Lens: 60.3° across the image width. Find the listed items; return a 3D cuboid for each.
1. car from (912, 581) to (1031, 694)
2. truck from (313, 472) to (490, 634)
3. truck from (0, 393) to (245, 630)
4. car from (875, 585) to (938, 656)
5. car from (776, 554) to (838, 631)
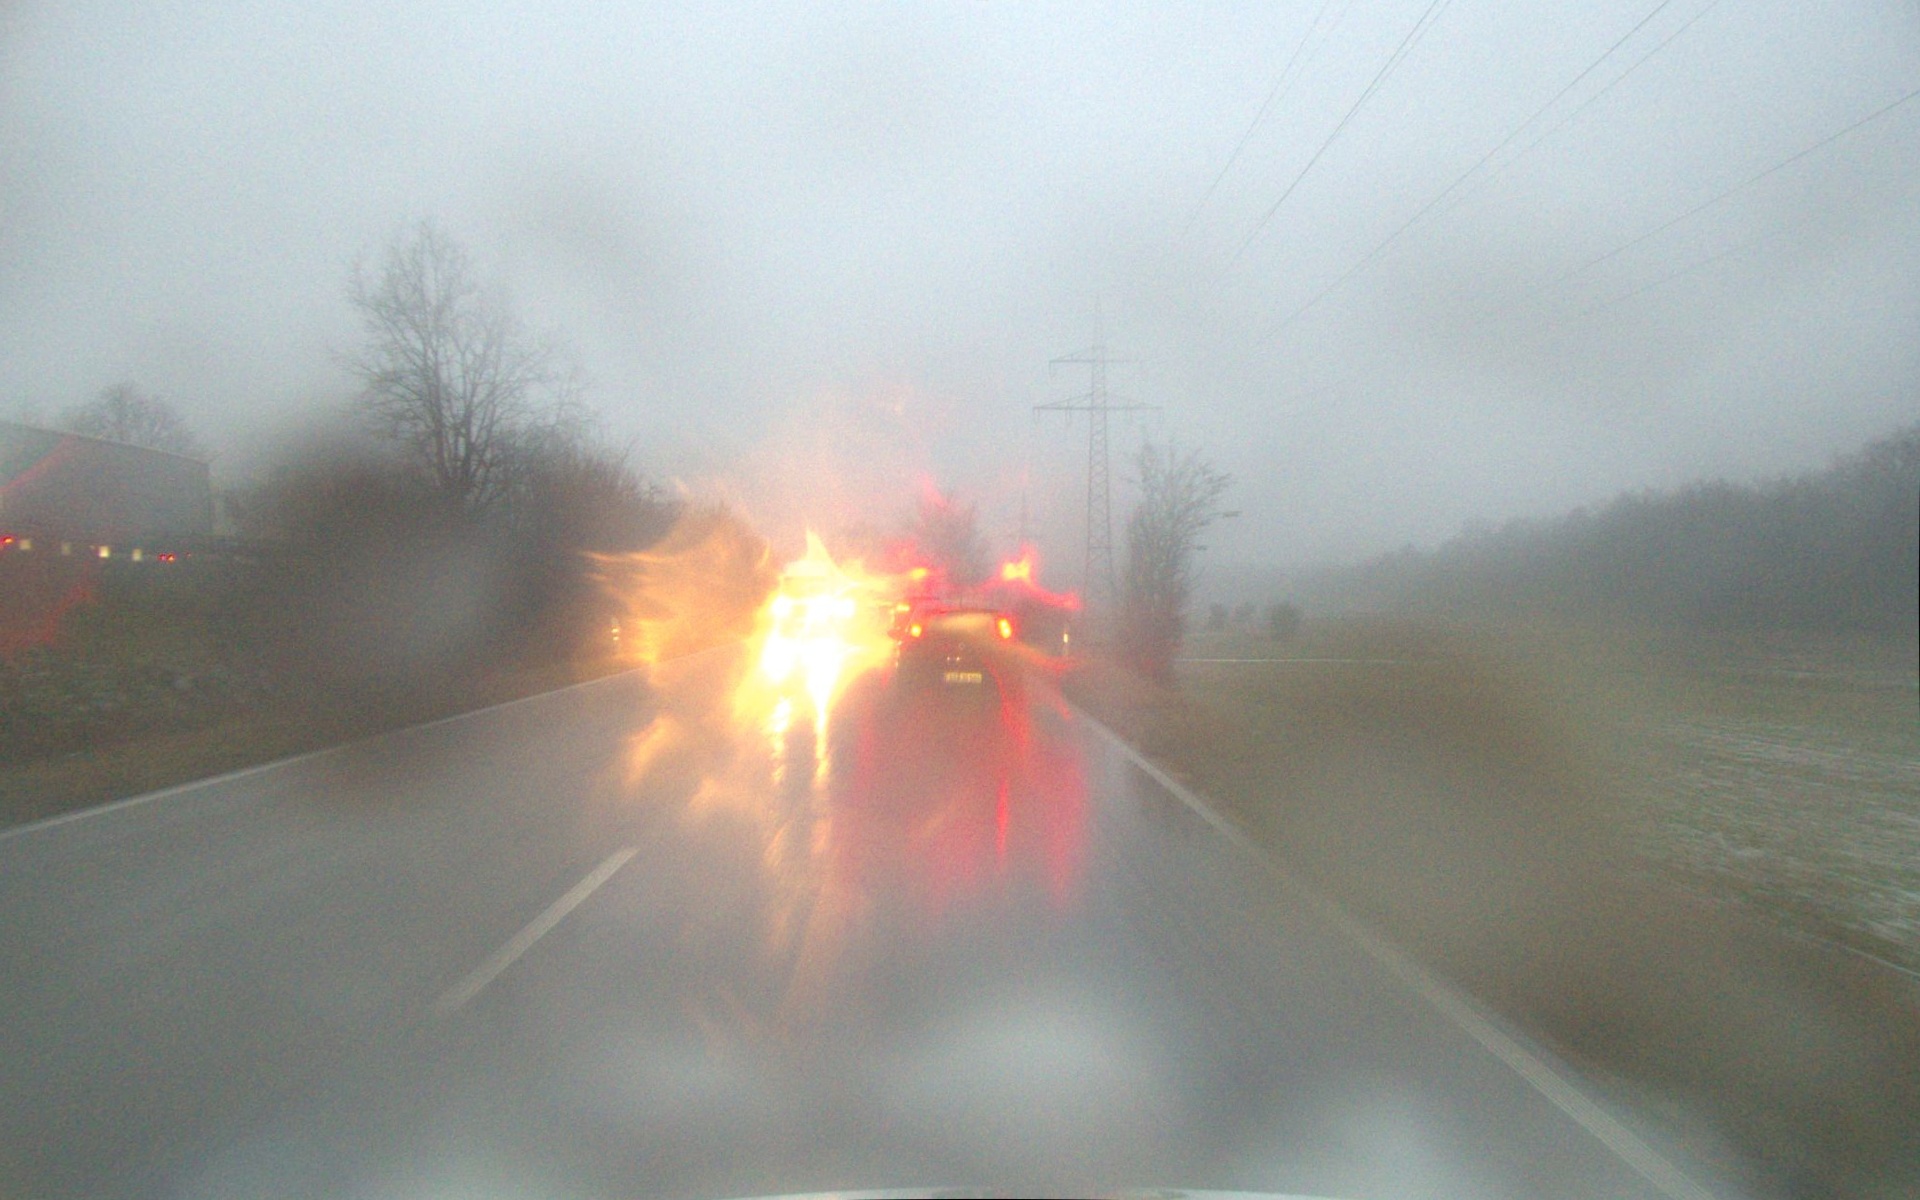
[{"bbox_3d":[0.102,0.483,22.687,1.470,1.423,3.198,1,0,-2],"label":"car"},{"bbox_3d":[-33.204,-2.337,101.604,7.418,7.848,39.989,1,0,-15],"label":"truck"},{"bbox_3d":[-27.726,-2.402,52.409,3.688,6.398,15.732,1,0,-2],"label":"truck"},{"bbox_3d":[-1.657,0.605,50.528,1.815,2.049,3.998,1,0,-2],"label":"car"},{"bbox_3d":[-5.683,-0.274,62.135,1.913,2.721,6.269,1,0,-2],"label":"car"}]
